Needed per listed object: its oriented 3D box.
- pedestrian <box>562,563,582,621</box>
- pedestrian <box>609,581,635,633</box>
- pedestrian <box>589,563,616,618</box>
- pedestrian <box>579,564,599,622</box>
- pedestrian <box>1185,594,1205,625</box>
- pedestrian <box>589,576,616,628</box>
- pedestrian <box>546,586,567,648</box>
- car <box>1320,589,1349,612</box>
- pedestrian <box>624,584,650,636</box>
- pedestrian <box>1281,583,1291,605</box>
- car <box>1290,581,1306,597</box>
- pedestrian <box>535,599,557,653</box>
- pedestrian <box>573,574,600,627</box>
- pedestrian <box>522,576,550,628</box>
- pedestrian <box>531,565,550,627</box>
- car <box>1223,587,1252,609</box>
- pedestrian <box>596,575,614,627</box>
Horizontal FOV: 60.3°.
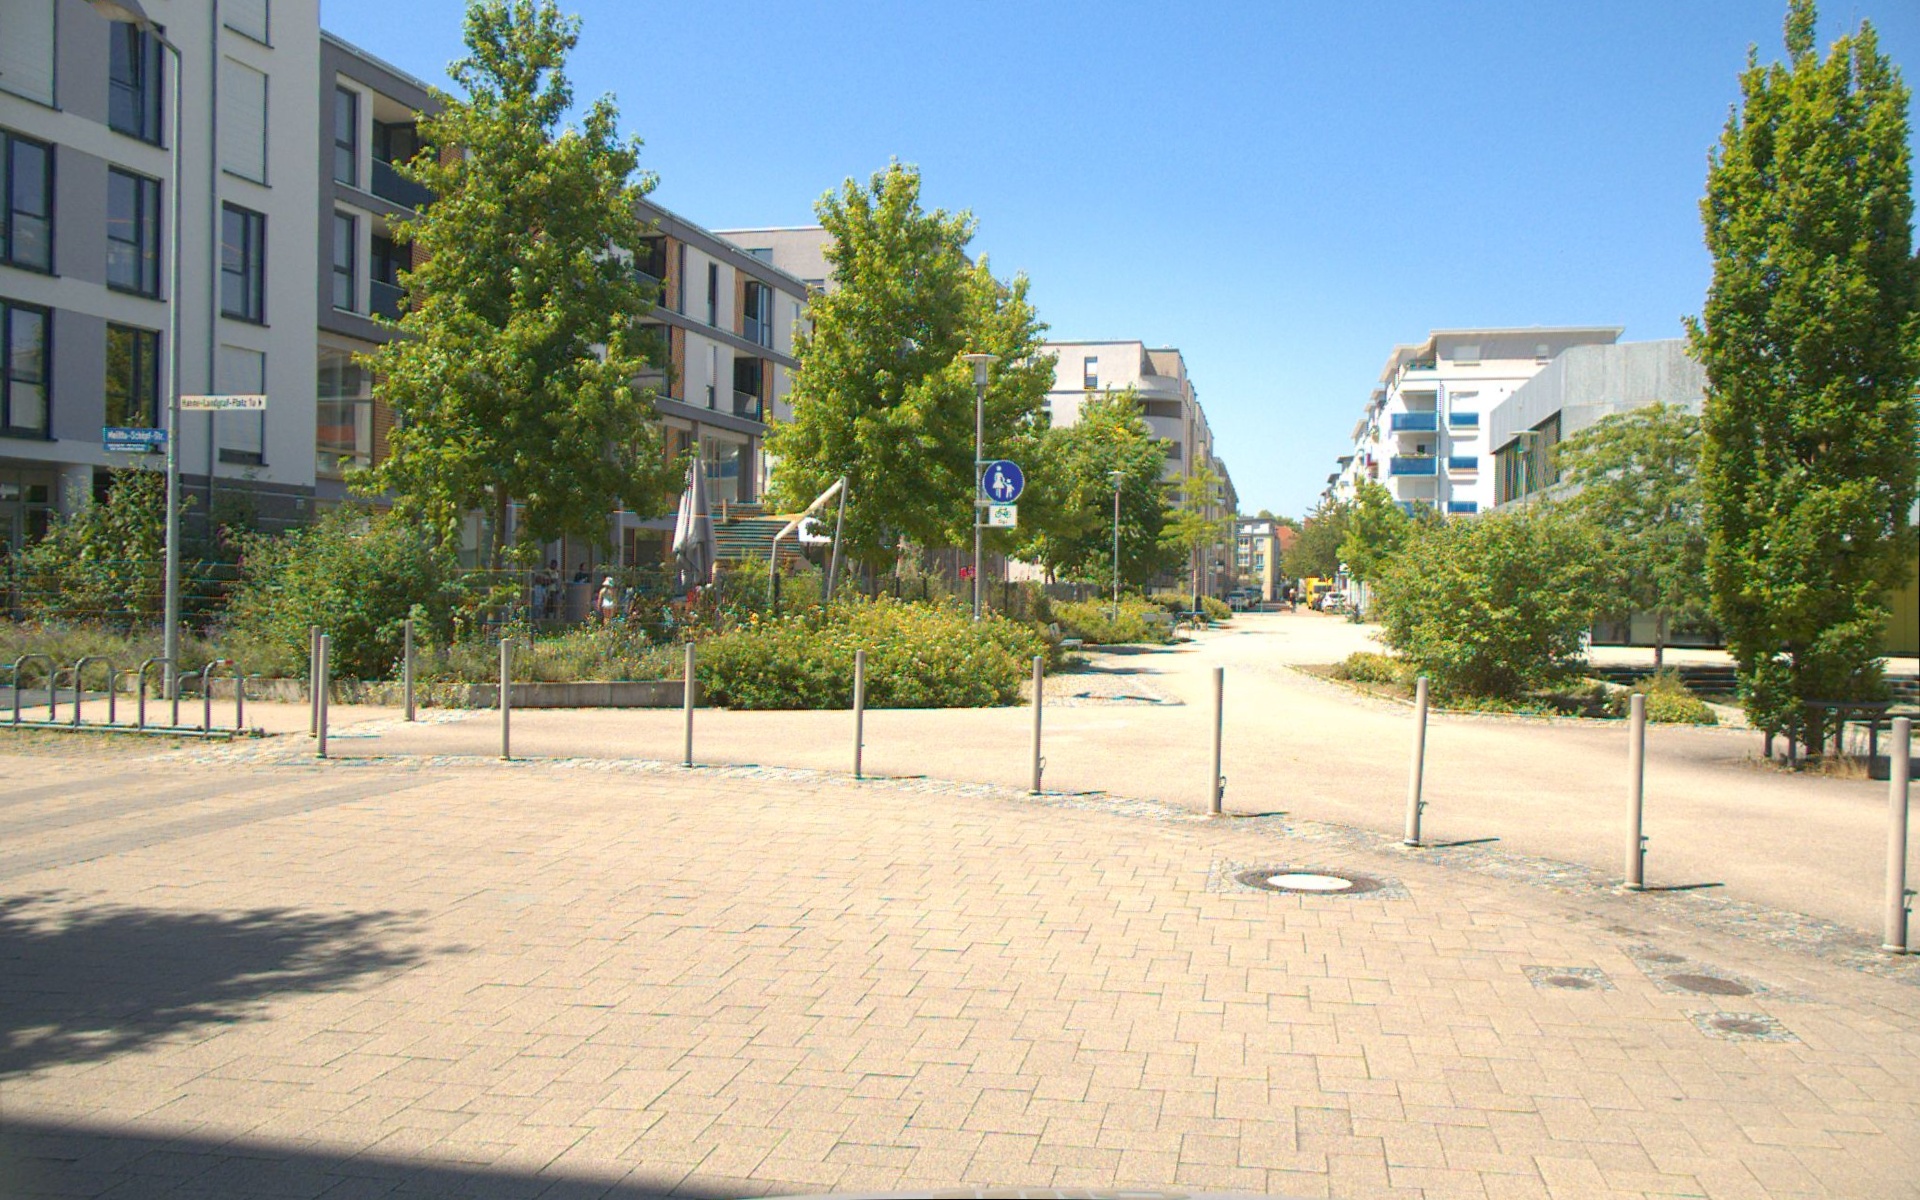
[{"bbox_3d":[-10.425,-0.206,44.467,0.390,1.534,0.459,2,0,-26],"label":"pedestrian"},{"bbox_3d":[-6.860,0.139,33.540,0.387,1.044,0.412,1,-1,4],"label":"pedestrian"},{"bbox_3d":[-6.821,-0.182,31.567,0.408,1.043,0.278,3,-1,-43],"label":"pedestrian"},{"bbox_3d":[-10.016,-0.187,44.602,0.390,1.534,0.459,2,0,-26],"label":"pedestrian"},{"bbox_3d":[10.791,0.435,75.836,0.829,1.372,0.696,2,0,11],"label":"pedestrian"},{"bbox_3d":[-7.310,0.038,33.843,0.408,1.043,0.310,3,-1,-43],"label":"pedestrian"},{"bbox_3d":[-11.356,0.471,46.581,0.387,1.720,0.463,2,0,7],"label":"pedestrian"},{"bbox_3d":[27.540,0.056,121.646,1.951,1.637,4.003,1,0,13],"label":"car"},{"bbox_3d":[-6.173,0.186,31.624,0.379,0.988,0.290,1,0,26],"label":"pedestrian"},{"bbox_3d":[22.989,-0.402,116.561,0.679,1.556,0.599,1,0,13],"label":"pedestrian"},{"bbox_3d":[44.095,-1.417,215.661,1.951,2.049,4.003,1,0,11],"label":"car"},{"bbox_3d":[-11.869,0.744,47.426,0.458,1.534,0.391,2,0,-41],"label":"pedestrian"},{"bbox_3d":[-7.544,0.008,33.387,0.408,1.043,0.310,3,-1,-43],"label":"pedestrian"},{"bbox_3d":[-8.301,0.050,32.387,0.361,1.004,0.412,1,-1,9],"label":"pedestrian"},{"bbox_3d":[-11.782,-0.123,46.444,0.329,1.720,0.463,2,0,7],"label":"pedestrian"},{"bbox_3d":[22.094,-0.165,131.574,2.100,1.681,4.091,1,0,12],"label":"car"},{"bbox_3d":[-7.485,0.020,34.902,0.315,1.072,0.290,1,0,-8],"label":"pedestrian"}]
